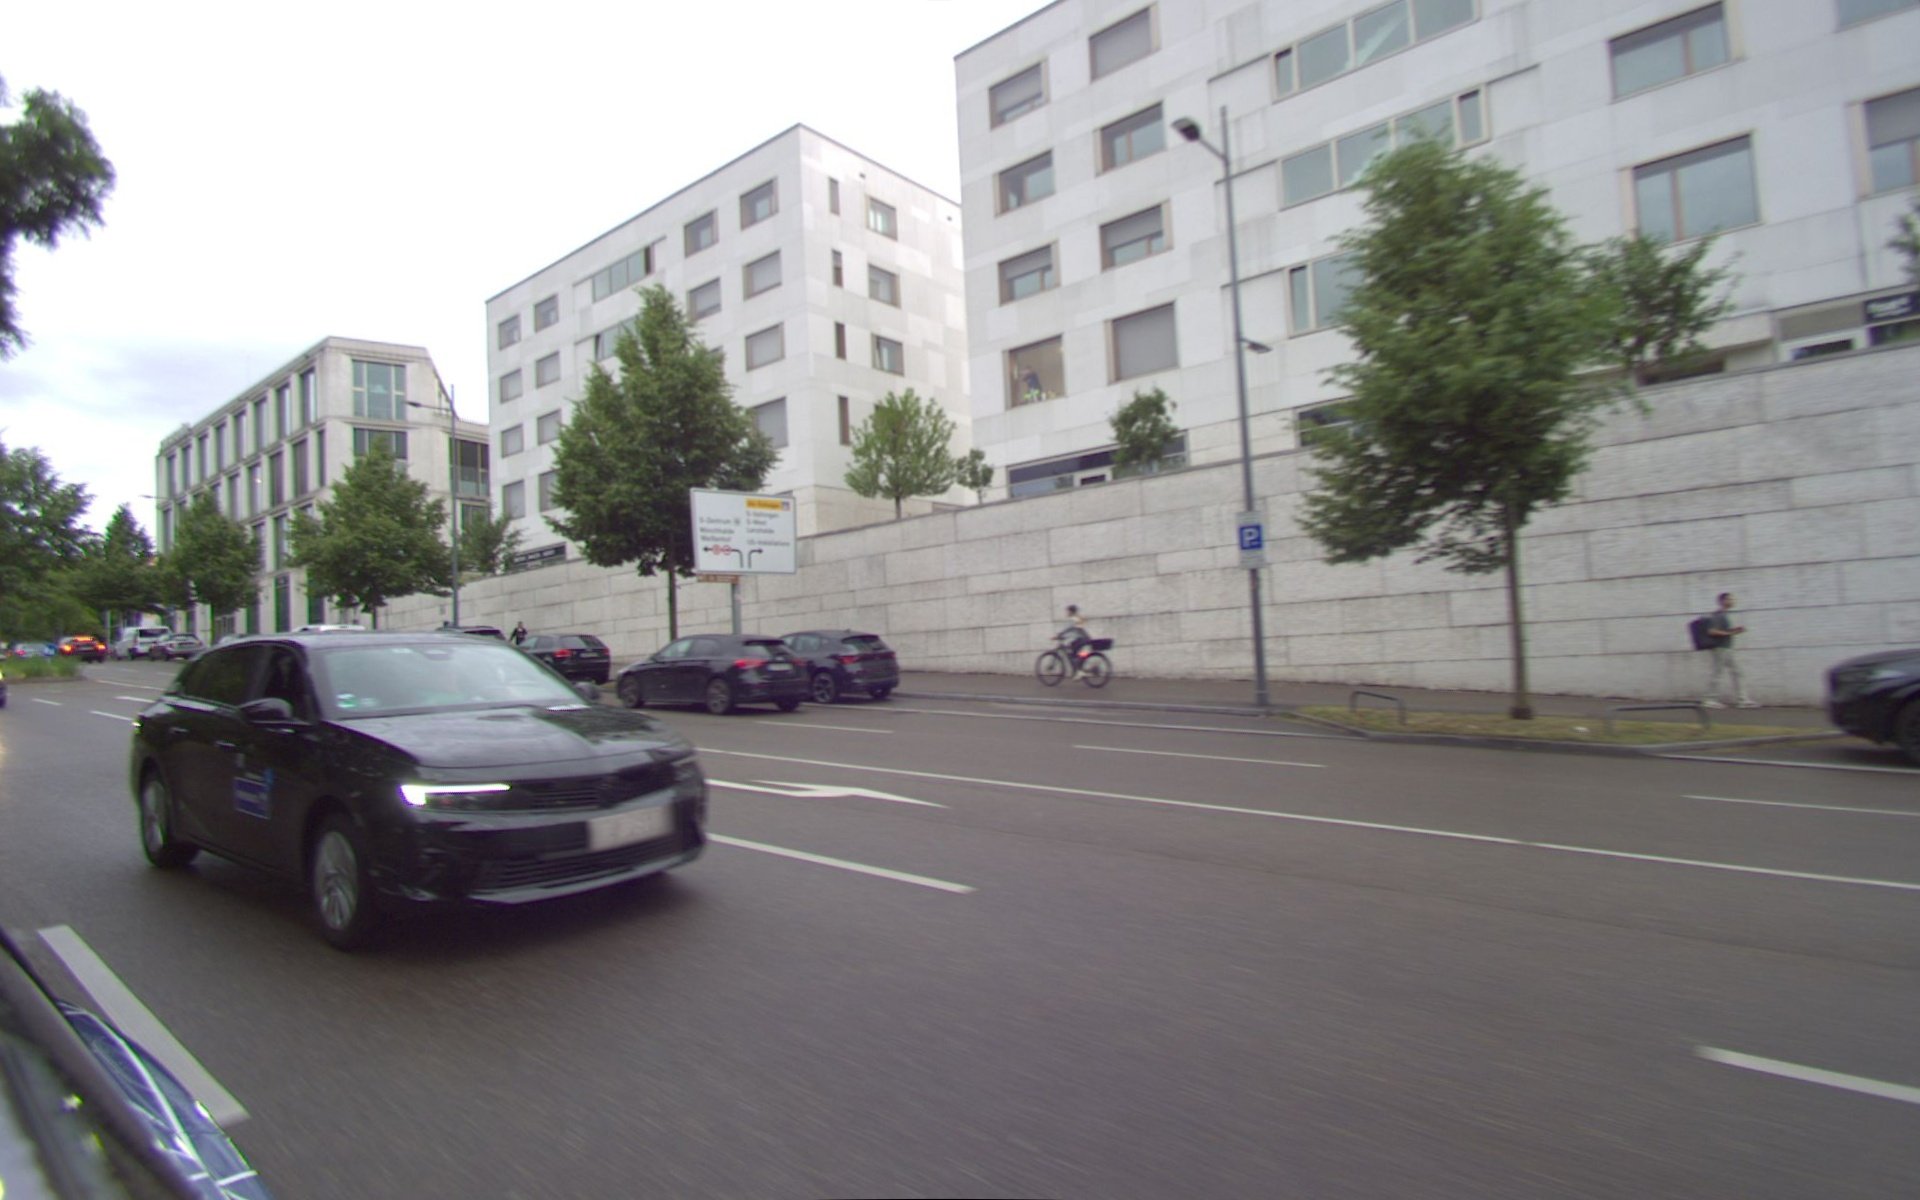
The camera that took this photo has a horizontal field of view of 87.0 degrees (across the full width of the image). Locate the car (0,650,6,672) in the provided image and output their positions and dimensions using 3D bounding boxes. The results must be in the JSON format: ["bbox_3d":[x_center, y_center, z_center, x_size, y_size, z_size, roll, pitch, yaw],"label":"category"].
[{"bbox_3d":[-71.850,4.557,74.523,4.669,1.613,1.811,-4,-3,40],"label":"car"}]

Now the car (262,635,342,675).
[{"bbox_3d":[-26.609,2.214,40.859,3.857,1.455,1.677,-3,-1,41],"label":"car"}]

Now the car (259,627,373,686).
[{"bbox_3d":[-20.363,1.774,31.930,4.332,1.760,1.693,-2,-4,39],"label":"car"}]

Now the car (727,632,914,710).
[{"bbox_3d":[-2.984,1.423,21.179,3.962,1.437,1.662,-2,-1,40],"label":"car"}]

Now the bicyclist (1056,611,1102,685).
[{"bbox_3d":[2.517,1.005,21.489,0.768,1.529,0.571,-2,-3,40],"label":"bicyclist"}]

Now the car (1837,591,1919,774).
[{"bbox_3d":[11.387,0.758,9.519,4.591,1.794,1.839,-2,-2,39],"label":"car"}]

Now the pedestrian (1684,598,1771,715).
[{"bbox_3d":[12.201,0.882,16.091,1.020,1.788,0.701,-2,-3,39],"label":"pedestrian"}]

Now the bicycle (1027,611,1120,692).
[{"bbox_3d":[2.404,1.089,21.608,1.878,1.670,0.735,-2,-3,40],"label":"bicycle"}]

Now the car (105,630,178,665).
[{"bbox_3d":[-46.560,2.718,57.515,5.253,1.830,2.102,-3,-2,38],"label":"car"}]

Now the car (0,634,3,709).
[{"bbox_3d":[-20.826,1.520,20.602,1.878,1.450,4.002,0,-3,-45],"label":"car"}]

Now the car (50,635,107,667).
[{"bbox_3d":[-48.268,2.783,55.407,4.013,1.593,1.678,-3,-1,39],"label":"car"}]

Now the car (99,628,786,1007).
[{"bbox_3d":[-3.257,0.903,5.974,4.511,1.441,1.783,-1,-2,36],"label":"car"}]

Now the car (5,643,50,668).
[{"bbox_3d":[-60.473,3.619,65.620,3.992,1.422,1.625,-5,-5,39],"label":"car"}]

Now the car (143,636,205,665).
[{"bbox_3d":[-40.922,2.633,52.673,3.693,1.395,1.679,-3,-1,38],"label":"car"}]

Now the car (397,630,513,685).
[{"bbox_3d":[-16.005,1.764,31.997,4.358,1.633,1.686,-2,-2,40],"label":"car"}]

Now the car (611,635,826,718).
[{"bbox_3d":[-4.597,1.377,18.984,4.186,1.392,1.752,-2,-4,39],"label":"car"}]

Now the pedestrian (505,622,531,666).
[{"bbox_3d":[-18.273,1.819,41.853,0.691,1.788,0.711,-3,-3,39],"label":"pedestrian"}]

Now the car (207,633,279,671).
[{"bbox_3d":[-32.430,2.315,45.727,4.014,1.593,1.678,-2,-1,40],"label":"car"}]

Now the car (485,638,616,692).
[{"bbox_3d":[-11.519,1.778,28.348,4.160,1.370,1.677,-3,-2,40],"label":"car"}]
